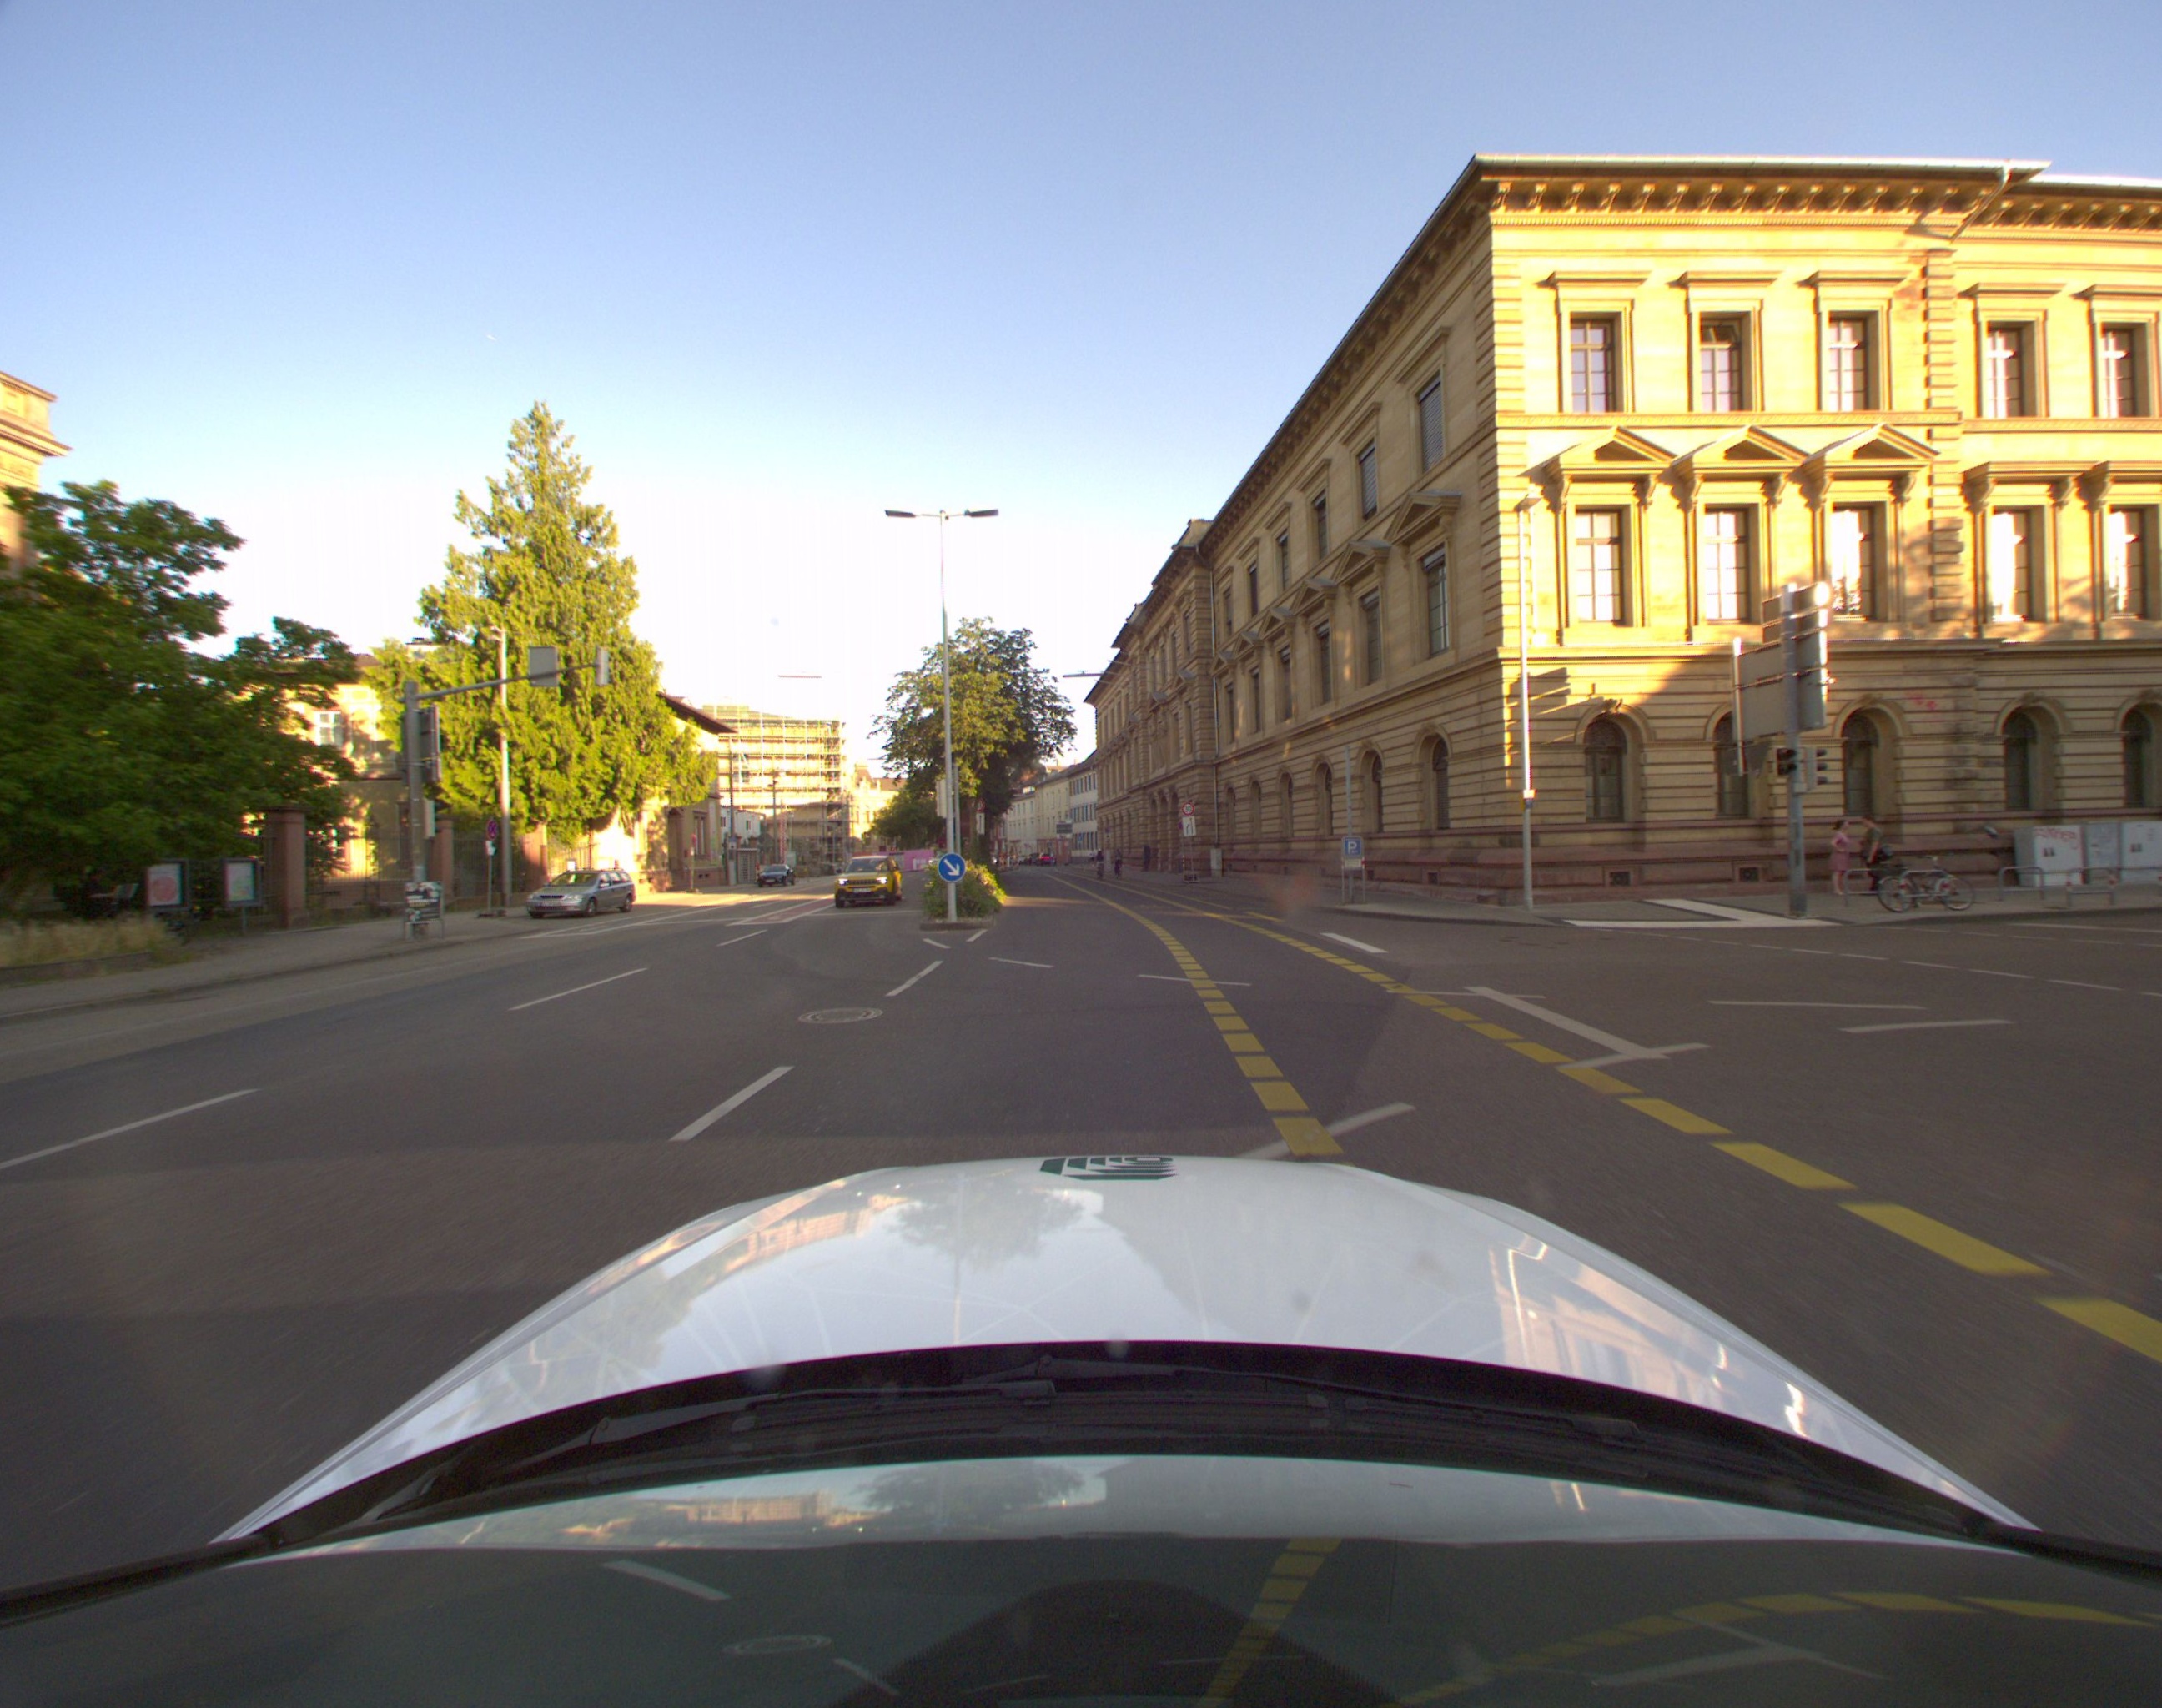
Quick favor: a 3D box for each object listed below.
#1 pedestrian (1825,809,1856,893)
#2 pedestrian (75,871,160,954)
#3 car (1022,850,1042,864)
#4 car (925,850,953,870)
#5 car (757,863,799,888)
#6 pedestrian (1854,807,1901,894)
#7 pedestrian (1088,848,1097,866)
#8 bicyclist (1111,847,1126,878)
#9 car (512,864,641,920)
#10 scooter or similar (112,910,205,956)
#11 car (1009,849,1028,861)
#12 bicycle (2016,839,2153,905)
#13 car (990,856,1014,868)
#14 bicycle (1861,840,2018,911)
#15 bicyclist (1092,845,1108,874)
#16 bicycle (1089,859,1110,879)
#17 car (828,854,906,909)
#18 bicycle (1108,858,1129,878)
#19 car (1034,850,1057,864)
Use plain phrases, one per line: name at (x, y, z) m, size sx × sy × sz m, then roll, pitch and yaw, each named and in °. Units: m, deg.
pedestrian at (16.972, -0.066, 18.200) m, size 0.452 × 1.857 × 0.422 m, roll -2°, pitch 0°, yaw -40°
pedestrian at (-19.140, 1.141, 16.194) m, size 0.734 × 1.579 × 0.761 m, roll -2°, pitch 0°, yaw -4°
car at (-6.633, 0.414, 109.513) m, size 1.817 × 1.684 × 3.976 m, roll -1°, pitch 0°, yaw -18°
car at (-13.132, 0.525, 75.513) m, size 1.838 × 1.674 × 4.553 m, roll -3°, pitch 0°, yaw -2°
car at (-18.917, 1.311, 50.910) m, size 1.679 × 1.351 × 3.874 m, roll -3°, pitch 0°, yaw -10°
pedestrian at (17.430, -0.070, 17.841) m, size 0.529 × 1.857 × 0.626 m, roll -2°, pitch 0°, yaw 27°
pedestrian at (1.144, 0.284, 79.931) m, size 0.815 × 1.765 × 1.037 m, roll -1°, pitch 0°, yaw -3°
bicyclist at (2.077, 0.477, 45.741) m, size 0.650 × 1.760 × 0.861 m, roll 0°, pitch 0°, yaw -12°
car at (-15.868, 1.140, 25.905) m, size 1.742 × 1.547 × 4.360 m, roll -1°, pitch 0°, yaw -6°
scooter or similar at (-18.334, 1.559, 16.205) m, size 0.676 × 0.777 × 1.027 m, roll -2°, pitch 0°, yaw -5°
car at (-9.056, 0.171, 117.339) m, size 1.818 × 1.560 × 3.840 m, roll -1°, pitch 0°, yaw -19°
bicycle at (18.787, 0.326, 15.265) m, size 1.718 × 1.144 × 0.696 m, roll -2°, pitch 3°, yaw -1°
car at (-10.825, 1.141, 111.771) m, size 1.823 × 1.560 × 3.828 m, roll -1°, pitch 0°, yaw -29°
bicycle at (16.031, 0.380, 15.243) m, size 2.044 × 1.207 × 0.862 m, roll -2°, pitch 3°, yaw -1°
bicyclist at (1.035, 0.286, 44.366) m, size 0.670 × 1.566 × 0.695 m, roll 1°, pitch -1°, yaw -14°
bicycle at (1.017, 0.808, 44.422) m, size 0.670 × 1.071 × 1.892 m, roll 0°, pitch 0°, yaw -14°
car at (-6.779, 0.816, 26.189) m, size 1.844 × 1.547 × 4.108 m, roll -2°, pitch 0°, yaw -7°
bicycle at (2.106, 0.787, 45.558) m, size 0.653 × 1.071 × 2.249 m, roll 1°, pitch -1°, yaw -11°
car at (-4.469, 0.411, 101.710) m, size 1.817 × 1.682 × 3.896 m, roll -1°, pitch 0°, yaw -17°
